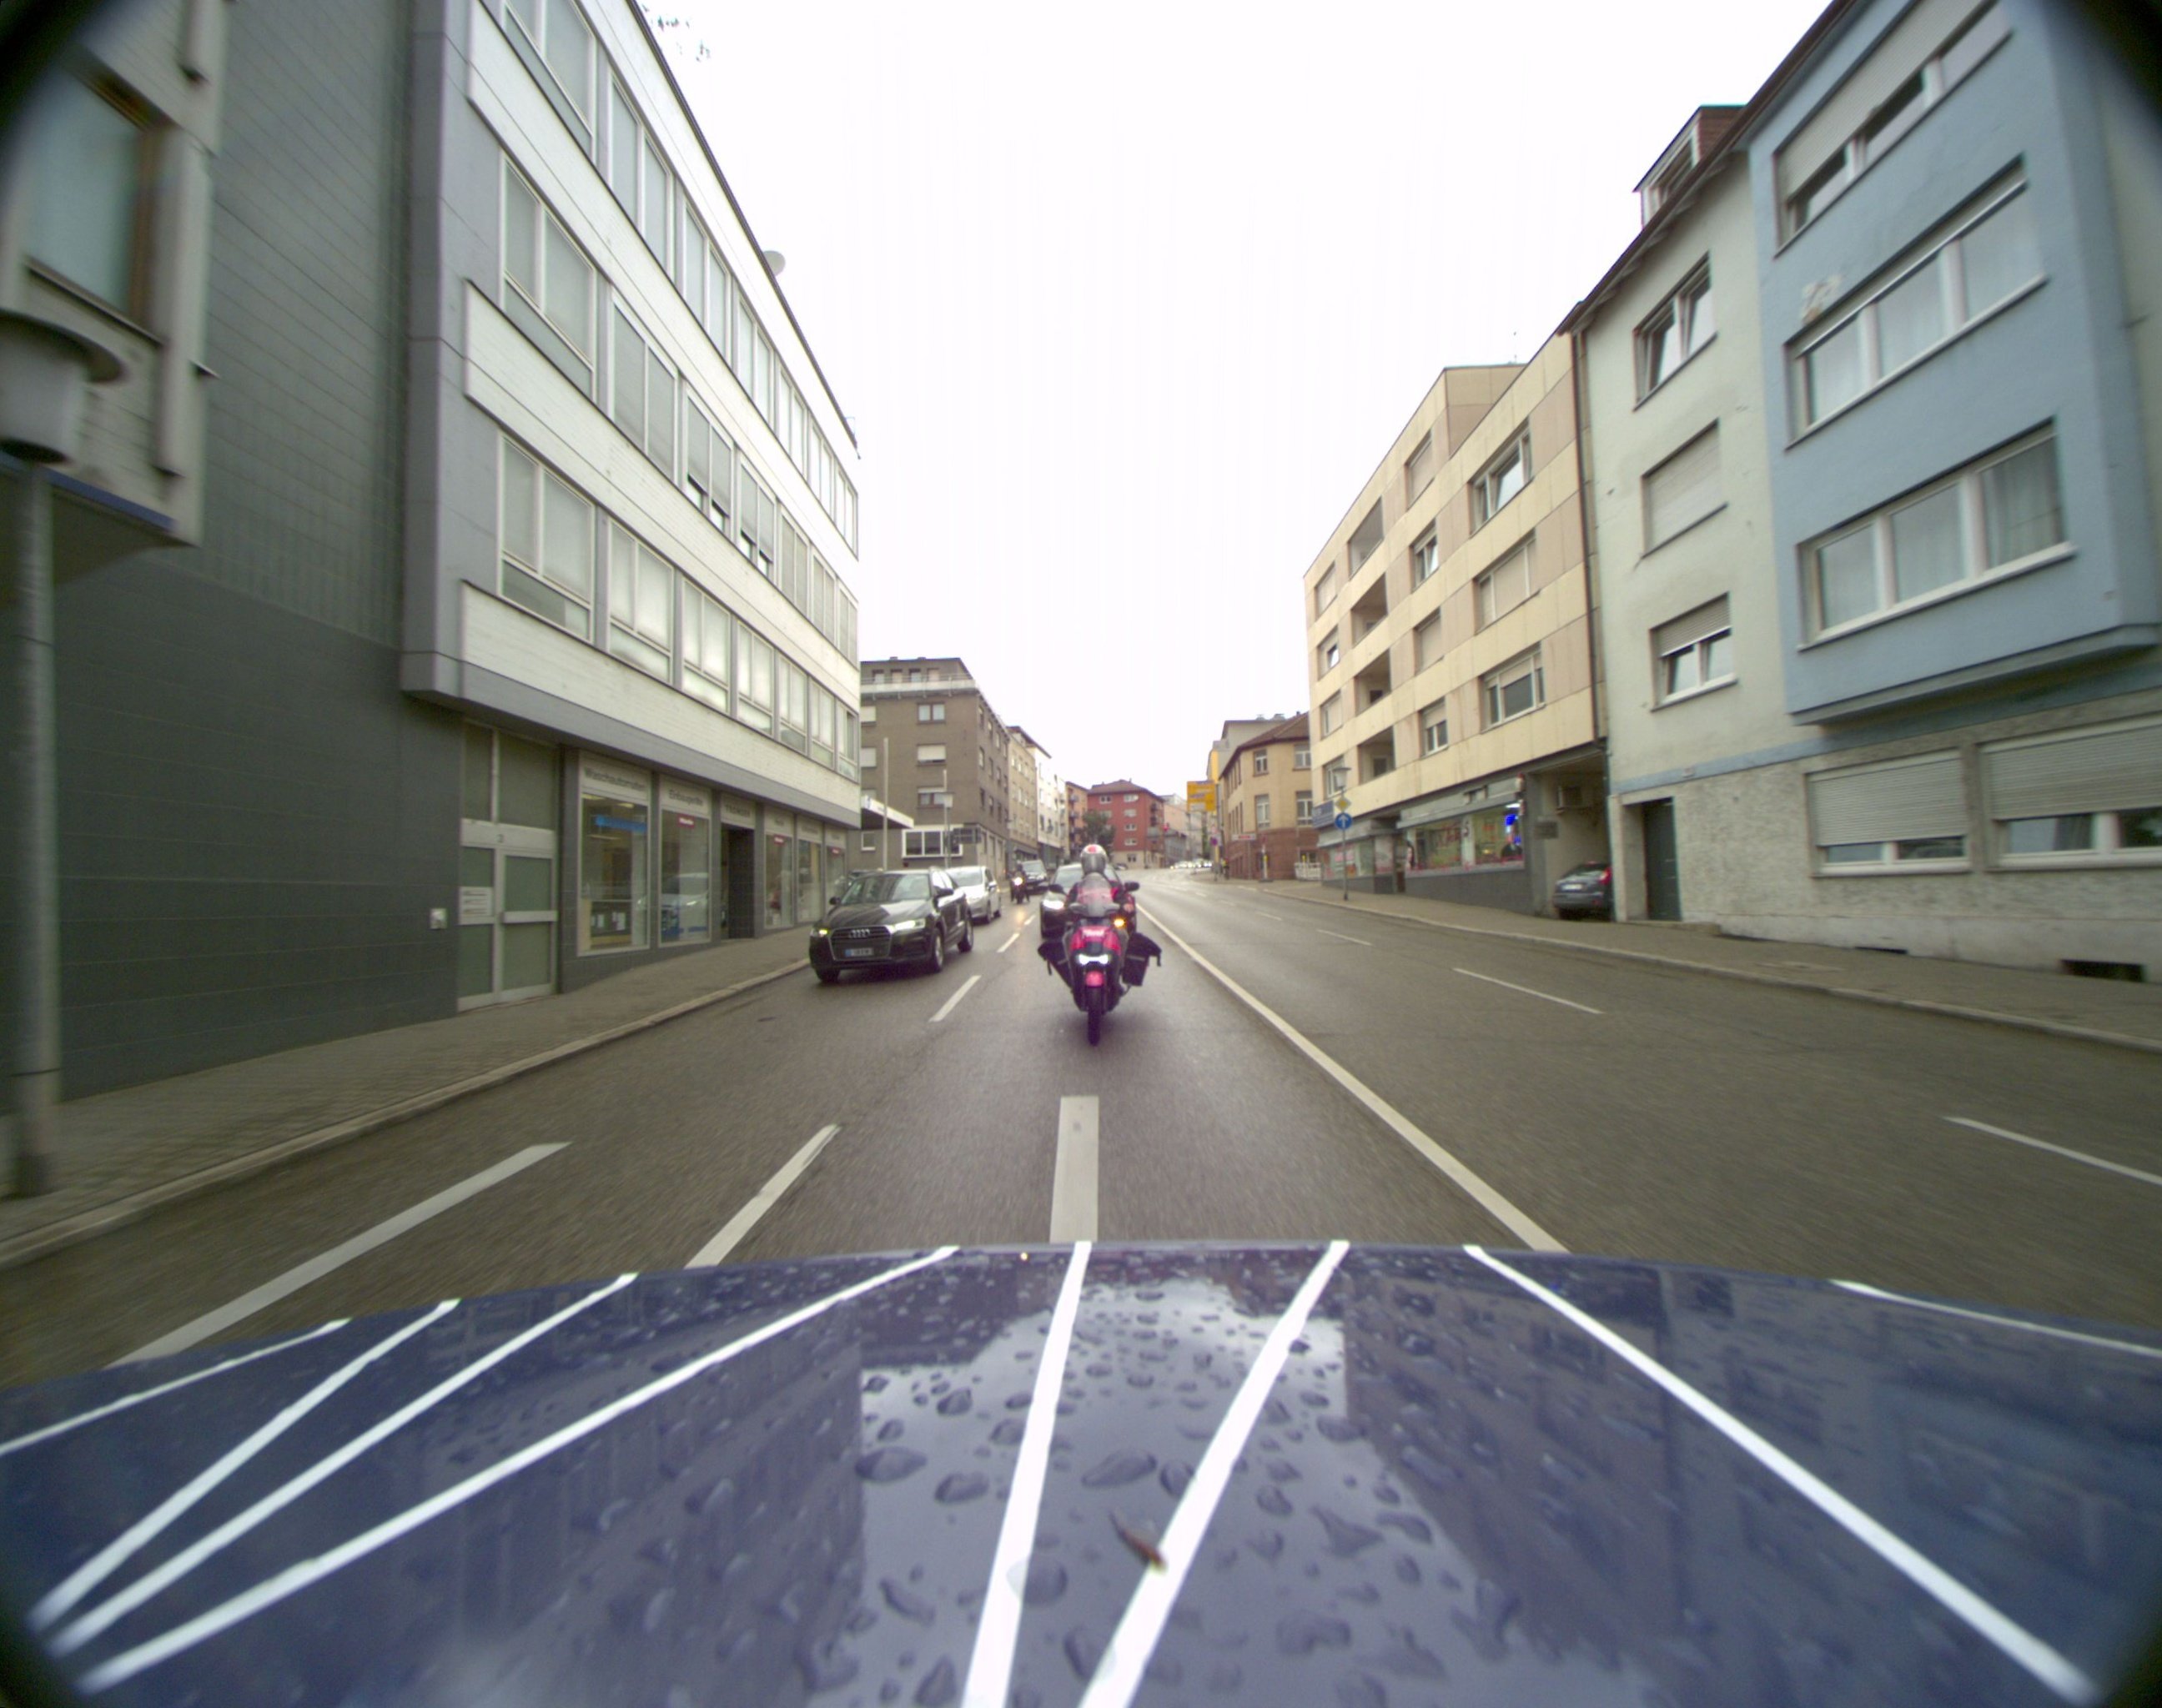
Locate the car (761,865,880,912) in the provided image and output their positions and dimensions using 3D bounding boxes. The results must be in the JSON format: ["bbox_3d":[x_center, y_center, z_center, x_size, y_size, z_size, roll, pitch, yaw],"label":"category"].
[{"bbox_3d":[-9.525,1.232,28.116,4.002,1.521,1.761,-2,0,-15],"label":"car"}]

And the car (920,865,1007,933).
[{"bbox_3d":[-3.192,1.166,21.412,1.831,1.532,4.251,-5,0,-2],"label":"car"}]

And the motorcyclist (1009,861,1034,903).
[{"bbox_3d":[-2.341,1.096,29.983,0.847,1.580,0.962,-4,1,-4],"label":"motorcyclist"}]

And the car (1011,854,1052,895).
[{"bbox_3d":[-2.534,0.984,38.073,1.849,1.892,3.763,-2,0,-6],"label":"car"}]

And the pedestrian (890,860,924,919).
[{"bbox_3d":[-5.211,1.045,22.808,0.786,1.696,1.120,1,1,-2],"label":"pedestrian"}]

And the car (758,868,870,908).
[{"bbox_3d":[-10.558,1.322,30.288,4.001,1.392,1.669,-2,0,-13],"label":"car"}]

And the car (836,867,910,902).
[{"bbox_3d":[-9.319,1.320,34.377,1.792,1.407,4.616,-1,0,4],"label":"car"}]

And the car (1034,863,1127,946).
[{"bbox_3d":[0.118,0.997,16.786,1.705,1.451,4.319,-4,0,3],"label":"car"}]

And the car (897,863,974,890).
[{"bbox_3d":[-9.570,1.471,50.256,4.531,1.495,2.001,-3,0,5],"label":"car"}]

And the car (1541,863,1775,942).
[{"bbox_3d":[12.620,1.058,16.739,4.000,1.342,1.678,5,-2,-6],"label":"car"}]

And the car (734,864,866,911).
[{"bbox_3d":[-9.347,1.130,25.579,4.003,1.441,1.796,2,-1,-16],"label":"car"}]

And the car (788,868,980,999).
[{"bbox_3d":[-2.937,1.114,12.344,1.827,1.551,4.201,-4,0,2],"label":"car"}]

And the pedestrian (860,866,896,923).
[{"bbox_3d":[-5.695,1.118,21.387,0.767,1.542,0.890,1,1,-2],"label":"pedestrian"}]

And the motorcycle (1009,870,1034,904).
[{"bbox_3d":[-2.332,1.275,30.029,0.847,1.218,2.372,-4,0,-4],"label":"motorcycle"}]

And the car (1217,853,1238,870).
[{"bbox_3d":[13.969,0.693,72.586,1.861,1.445,3.966,-5,-1,11],"label":"car"}]

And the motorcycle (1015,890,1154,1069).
[{"bbox_3d":[0.100,1.055,7.327,1.010,1.218,2.694,-4,0,3],"label":"motorcycle"}]

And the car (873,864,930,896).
[{"bbox_3d":[-9.479,1.327,40.525,1.793,1.503,4.438,-2,0,2],"label":"car"}]

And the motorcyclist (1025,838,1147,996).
[{"bbox_3d":[0.062,0.576,7.311,1.010,1.373,0.835,-4,0,3],"label":"motorcyclist"}]
